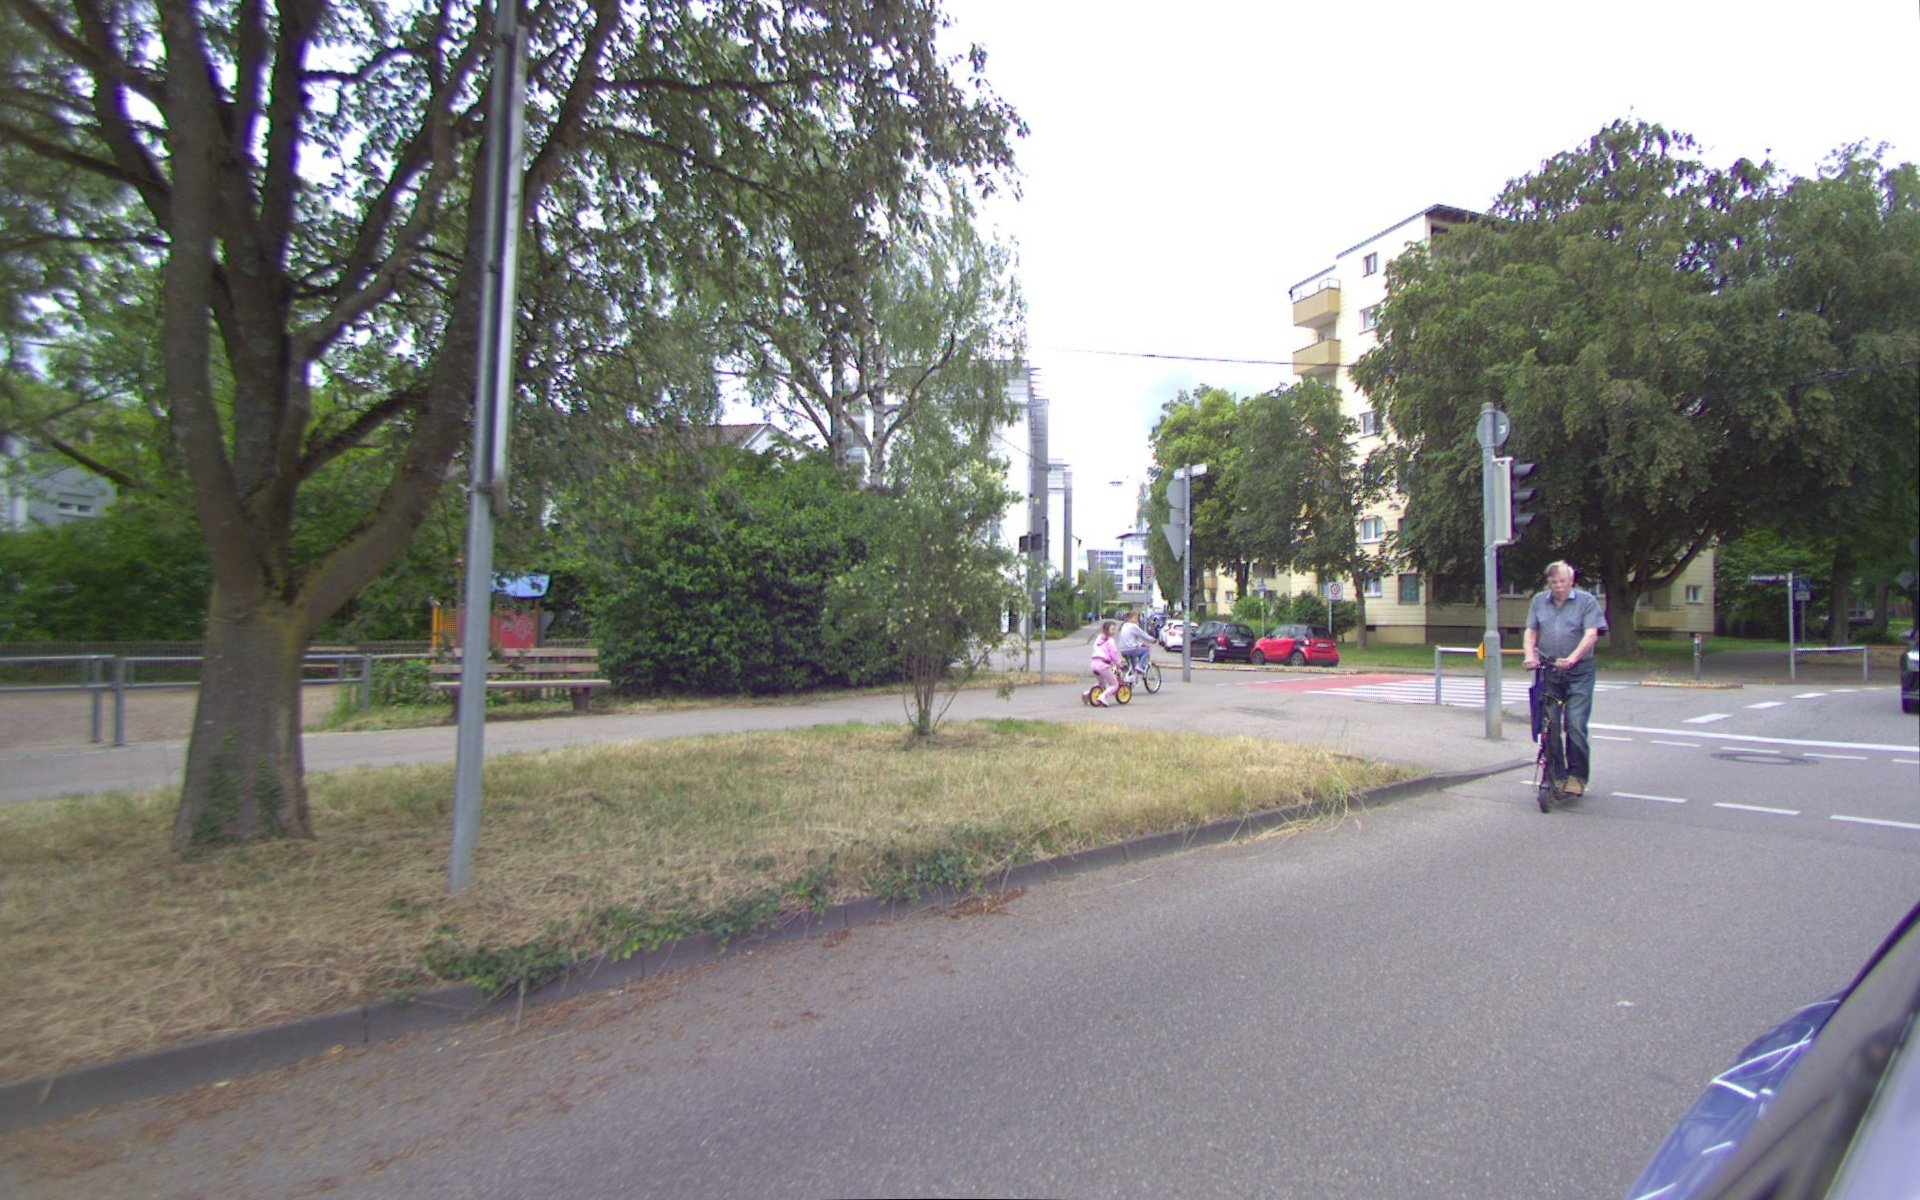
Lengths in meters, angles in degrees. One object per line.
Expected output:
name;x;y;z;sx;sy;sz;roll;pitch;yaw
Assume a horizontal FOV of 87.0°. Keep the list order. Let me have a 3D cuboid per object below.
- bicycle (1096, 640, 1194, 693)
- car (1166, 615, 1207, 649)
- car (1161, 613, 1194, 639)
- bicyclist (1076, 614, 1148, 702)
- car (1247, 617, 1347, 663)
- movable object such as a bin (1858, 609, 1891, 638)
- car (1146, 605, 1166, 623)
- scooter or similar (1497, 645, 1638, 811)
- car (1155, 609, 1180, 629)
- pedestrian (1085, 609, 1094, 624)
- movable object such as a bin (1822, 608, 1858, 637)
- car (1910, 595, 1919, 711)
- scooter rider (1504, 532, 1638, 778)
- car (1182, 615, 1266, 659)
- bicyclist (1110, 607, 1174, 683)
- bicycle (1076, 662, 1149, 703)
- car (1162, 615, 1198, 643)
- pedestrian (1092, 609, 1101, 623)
bicycle;2.974;1.045;16.226;1.651;0.768;0.641;0;-1;-40
car;10.847;1.502;48.624;1.767;1.452;4.058;1;0;11
car;12.867;1.519;60.012;1.767;1.430;4.058;1;0;11
bicyclist;2.177;0.811;14.439;0.950;1.202;0.519;1;-1;-40
car;11.532;1.379;34.800;1.661;1.526;2.924;2;-3;-28
movable object such as a bin;53.648;1.356;59.362;1.001;1.662;1.278;0;1;-37
car;18.241;1.310;94.080;1.767;1.600;4.058;1;0;11
scooter or similar;4.751;0.932;7.882;0.681;1.154;1.437;-1;-3;41
car;15.335;1.389;74.965;1.767;1.430;4.058;1;0;11
pedestrian;13.432;1.673;104.821;0.694;1.510;0.712;-1;-2;-6
movable object such as a bin;52.780;1.327;60.700;1.001;1.662;1.435;0;1;-37
car;15.109;0.741;14.498;4.224;1.570;1.802;1;-1;-42
scooter rider;4.785;0.413;7.912;0.681;1.753;1.178;-1;-3;41
car;10.204;1.431;39.396;1.781;1.612;3.830;0;-2;-8
bicyclist;2.909;0.695;16.186;0.789;1.177;0.641;0;-1;-40
bicycle;2.178;1.170;14.419;0.971;0.504;0.519;0;-1;-40
car;11.854;1.535;54.741;1.767;1.372;4.058;1;0;11
pedestrian;14.172;1.661;105.137;0.695;1.510;0.712;-1;-2;-5
